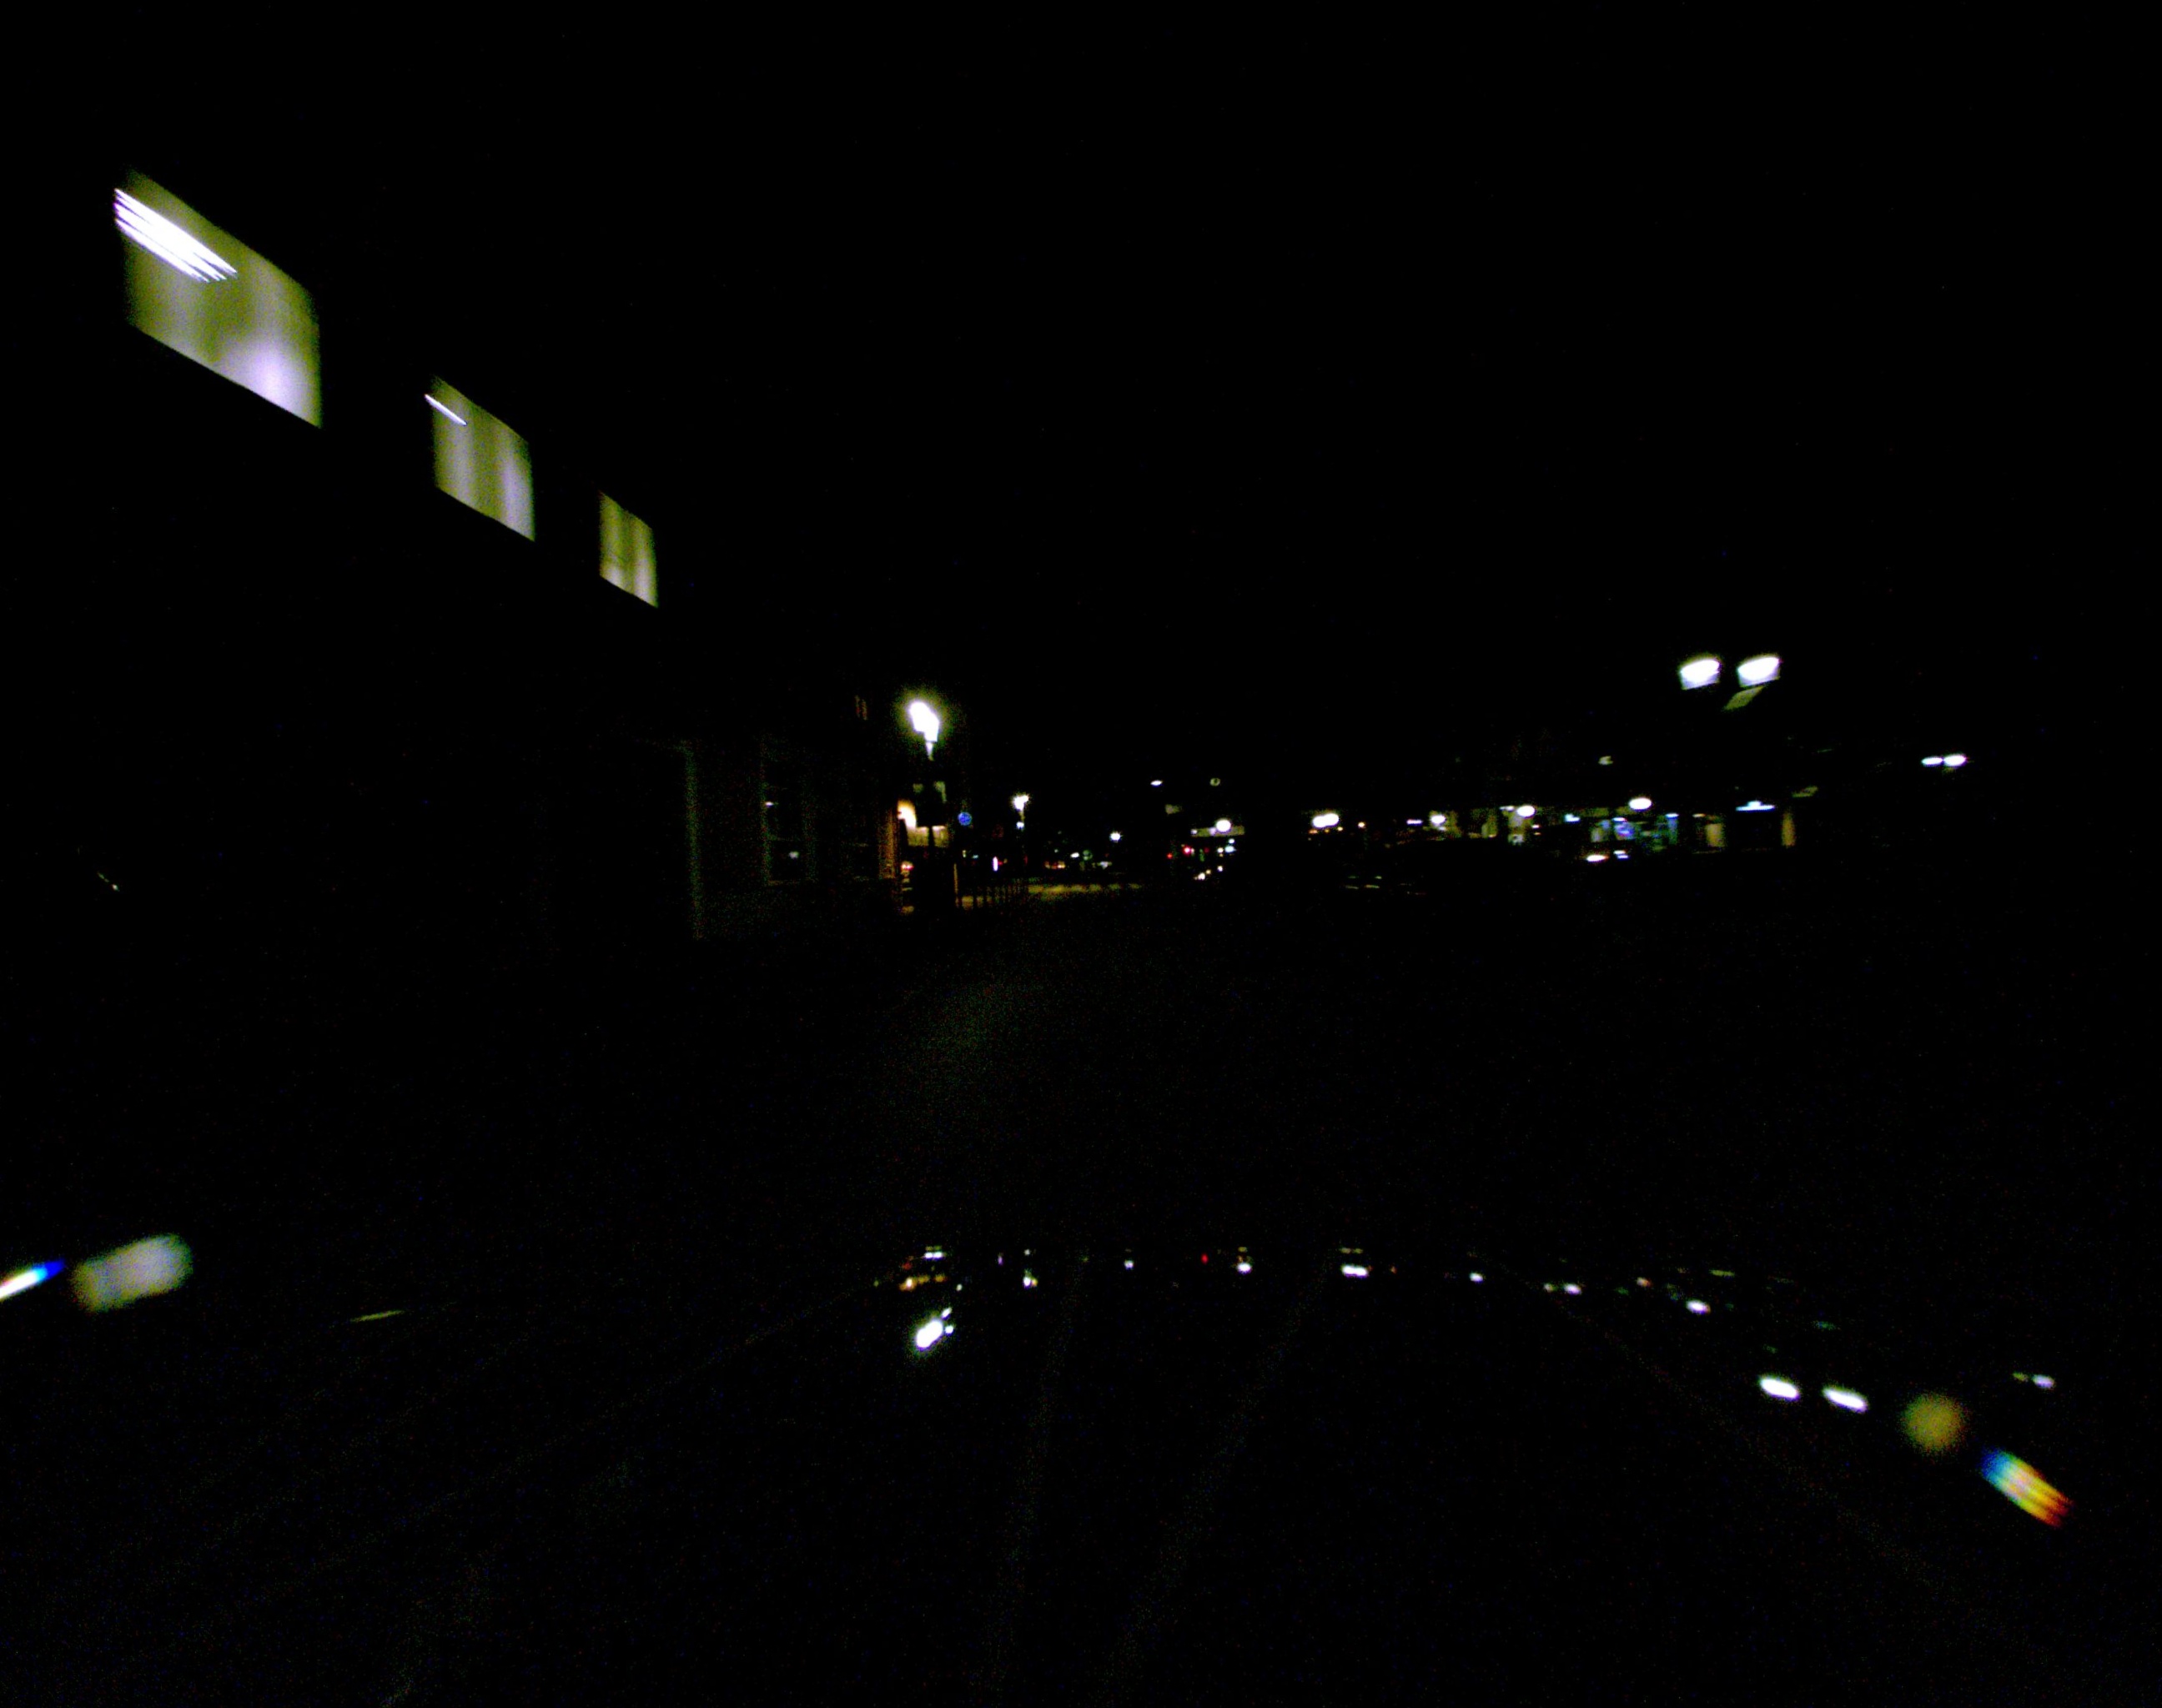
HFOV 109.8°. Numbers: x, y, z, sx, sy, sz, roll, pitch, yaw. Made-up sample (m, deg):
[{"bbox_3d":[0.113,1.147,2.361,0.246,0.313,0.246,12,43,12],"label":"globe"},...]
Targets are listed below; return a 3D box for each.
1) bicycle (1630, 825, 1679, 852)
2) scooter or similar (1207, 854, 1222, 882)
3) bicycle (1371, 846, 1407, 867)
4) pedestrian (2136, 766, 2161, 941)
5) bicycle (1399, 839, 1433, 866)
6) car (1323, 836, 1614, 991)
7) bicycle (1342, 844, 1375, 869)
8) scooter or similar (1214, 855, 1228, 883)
[{"bbox_3d":[31.300,-0.844,41.524,0.775,1.356,2.510,-3,1,-1],"label":"bicycle"},{"bbox_3d":[6.189,0.664,35.256,0.370,1.256,1.449,-4,-1,2],"label":"scooter or similar"},{"bbox_3d":[16.822,0.127,41.560,0.861,1.081,2.482,-3,1,-1],"label":"bicycle"},{"bbox_3d":[11.391,-0.016,7.747,0.501,1.811,0.504,-4,1,26],"label":"pedestrian"},{"bbox_3d":[18.298,-0.099,41.568,0.764,1.356,2.413,-3,1,-1],"label":"bicycle"},{"bbox_3d":[4.897,0.624,10.451,1.775,1.565,4.483,-4,0,2],"label":"car"},{"bbox_3d":[15.279,0.123,41.916,0.861,1.247,2.466,-3,1,-1],"label":"bicycle"},{"bbox_3d":[6.495,0.696,35.257,0.318,1.280,1.449,-4,-1,1],"label":"scooter or similar"}]
